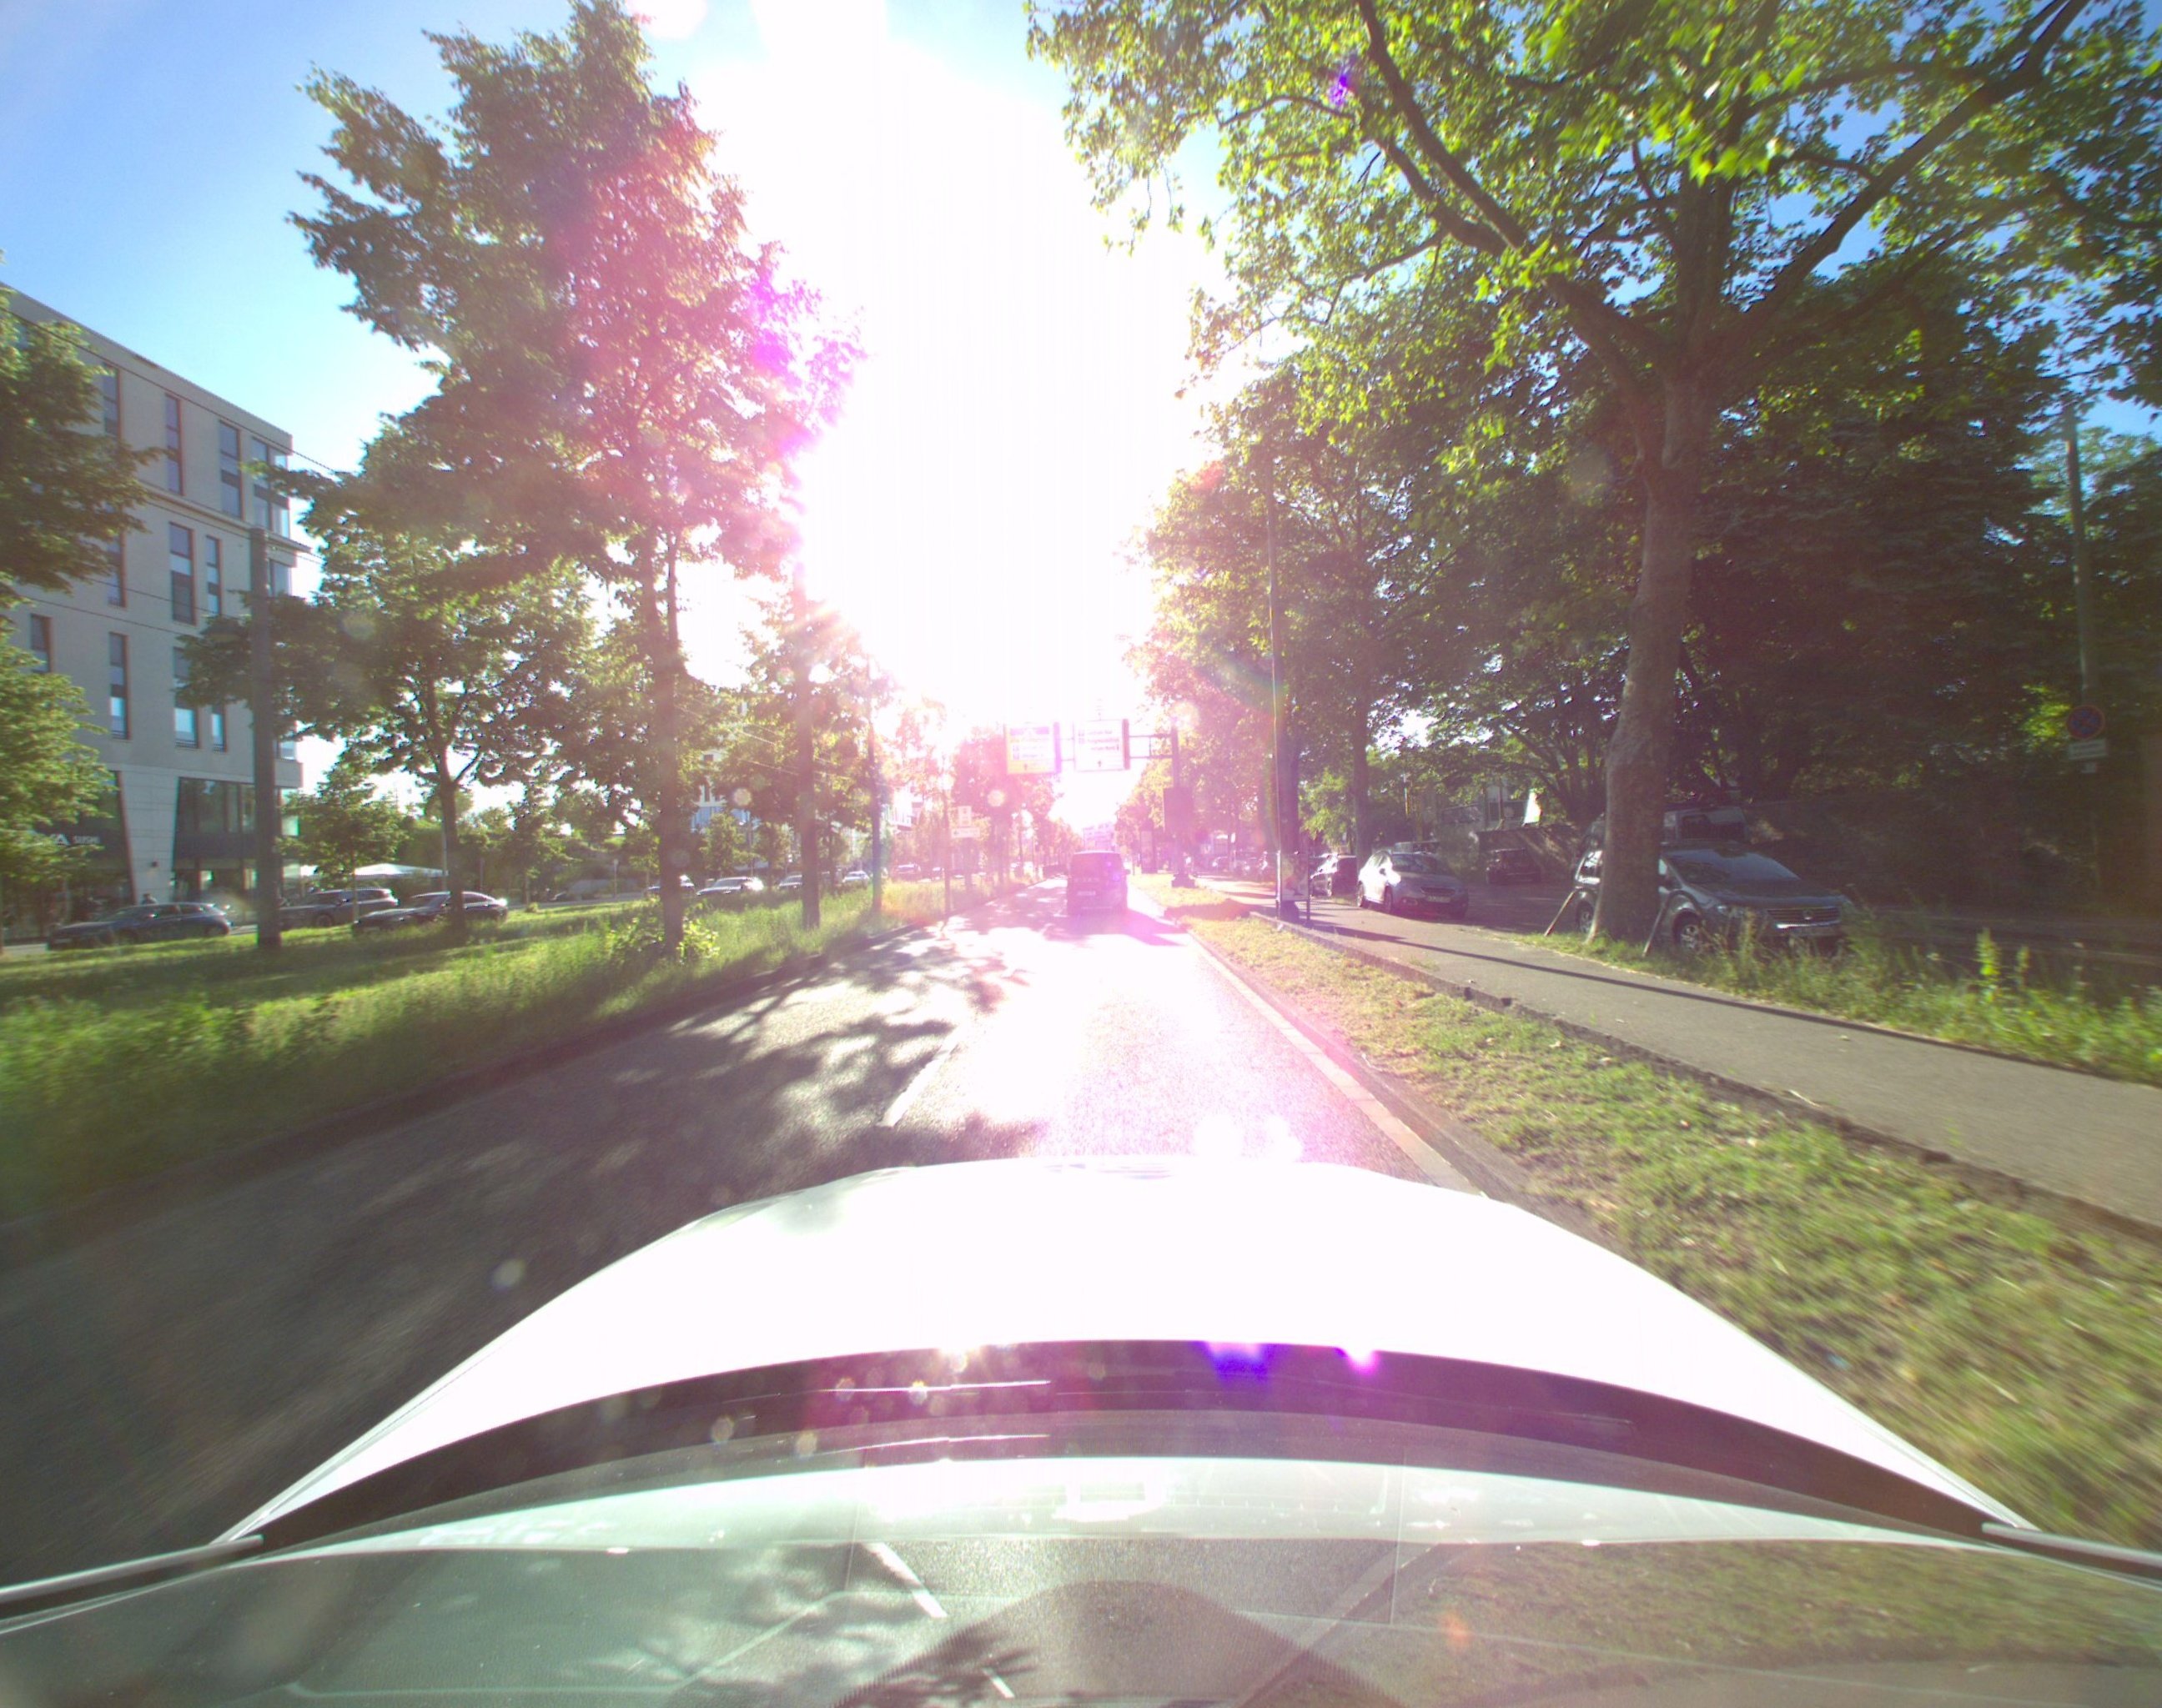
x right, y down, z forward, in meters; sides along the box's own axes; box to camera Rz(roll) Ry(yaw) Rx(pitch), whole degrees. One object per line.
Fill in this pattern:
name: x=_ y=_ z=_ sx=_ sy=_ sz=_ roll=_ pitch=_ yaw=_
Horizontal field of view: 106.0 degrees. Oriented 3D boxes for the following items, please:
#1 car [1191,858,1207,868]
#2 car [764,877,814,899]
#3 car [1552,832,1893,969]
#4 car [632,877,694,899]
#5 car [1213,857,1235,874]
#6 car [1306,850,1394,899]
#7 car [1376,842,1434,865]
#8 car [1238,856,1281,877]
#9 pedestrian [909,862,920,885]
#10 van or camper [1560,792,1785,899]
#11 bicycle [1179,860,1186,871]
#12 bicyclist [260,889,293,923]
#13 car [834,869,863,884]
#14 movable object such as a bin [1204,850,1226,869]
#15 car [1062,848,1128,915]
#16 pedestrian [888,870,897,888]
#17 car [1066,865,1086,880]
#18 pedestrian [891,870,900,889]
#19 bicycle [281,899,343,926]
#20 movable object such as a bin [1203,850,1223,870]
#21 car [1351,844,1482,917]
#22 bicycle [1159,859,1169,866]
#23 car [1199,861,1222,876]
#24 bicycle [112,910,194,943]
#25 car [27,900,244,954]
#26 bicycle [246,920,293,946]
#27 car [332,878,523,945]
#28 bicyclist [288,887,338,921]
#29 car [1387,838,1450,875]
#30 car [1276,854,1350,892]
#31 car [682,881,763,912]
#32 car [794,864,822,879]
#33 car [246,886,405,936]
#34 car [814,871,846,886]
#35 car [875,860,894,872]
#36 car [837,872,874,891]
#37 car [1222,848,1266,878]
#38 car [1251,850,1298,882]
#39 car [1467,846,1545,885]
car: x=16.993 y=1.319 z=117.319 sx=1.864 sy=1.368 sz=4.001 roll=-1 pitch=-1 yaw=1
car: x=-21.472 y=2.494 z=60.087 sx=1.986 sy=1.528 sz=4.320 roll=-1 pitch=-1 yaw=1
car: x=9.023 y=0.600 z=12.095 sx=1.784 sy=1.634 sz=4.634 roll=-1 pitch=-1 yaw=6
car: x=-29.834 y=2.412 z=58.336 sx=1.871 sy=1.435 sz=4.613 roll=-1 pitch=-1 yaw=3
car: x=13.173 y=1.081 z=75.027 sx=1.654 sy=1.500 sz=2.992 roll=-1 pitch=-1 yaw=4
car: x=8.646 y=0.652 z=26.494 sx=1.785 sy=1.438 sz=3.887 roll=-1 pitch=-1 yaw=3
car: x=26.871 y=-0.061 z=67.586 sx=4.067 sy=1.851 sz=1.850 roll=-1 pitch=-1 yaw=2
car: x=11.146 y=0.790 z=51.017 sx=1.985 sy=1.290 sz=4.055 roll=-1 pitch=-1 yaw=3
pedestrian: x=-13.757 y=1.613 z=67.308 sx=0.818 sy=1.836 sz=0.726 roll=-1 pitch=-1 yaw=-1
van or camper: x=17.772 y=-0.220 z=25.119 sx=2.543 sy=2.684 sz=6.576 roll=-4 pitch=-1 yaw=6
bicycle: x=9.816 y=1.135 z=78.808 sx=0.491 sy=1.046 sz=1.905 roll=-1 pitch=-1 yaw=3
bicyclist: x=-34.762 y=2.218 z=35.192 sx=0.428 sy=1.419 sz=0.956 roll=-1 pitch=-1 yaw=3
car: x=-28.412 y=2.732 z=99.762 sx=1.985 sy=1.672 sz=4.613 roll=-1 pitch=-1 yaw=3
movable object such as a bin: x=14.016 y=0.604 z=85.323 sx=2.071 sy=2.014 sz=2.139 roll=-1 pitch=-1 yaw=5
car: x=0.353 y=0.787 z=24.592 sx=1.803 sy=1.838 sz=3.997 roll=-1 pitch=-1 yaw=-1
pedestrian: x=-15.444 y=2.056 z=66.620 sx=0.540 sy=1.497 sz=0.604 roll=-1 pitch=-1 yaw=5
car: x=-0.523 y=2.031 z=91.216 sx=1.986 sy=1.618 sz=4.001 roll=-1 pitch=-1 yaw=2
pedestrian: x=-14.991 y=2.039 z=65.842 sx=0.547 sy=1.518 sz=0.589 roll=-1 pitch=-1 yaw=6
bicycle: x=-32.800 y=2.484 z=34.776 sx=0.495 sy=1.001 sz=2.189 roll=-1 pitch=-1 yaw=1
movable object such as a bin: x=14.270 y=0.660 z=88.081 sx=2.071 sy=2.014 sz=2.139 roll=-1 pitch=-1 yaw=5
car: x=7.967 y=0.614 z=19.738 sx=1.785 sy=1.560 sz=4.025 roll=1 pitch=-1 yaw=5
bicycle: x=15.687 y=1.582 z=153.685 sx=1.910 sy=1.268 sz=0.479 roll=-2 pitch=-1 yaw=2
car: x=12.514 y=1.399 z=78.849 sx=1.988 sy=1.384 sz=4.754 roll=-1 pitch=-1 yaw=7
bicycle: x=-37.508 y=2.913 z=32.975 sx=0.731 sy=1.198 sz=2.241 roll=-1 pitch=-1 yaw=1
car: x=-30.372 y=2.290 z=26.404 sx=1.950 sy=1.441 sz=4.267 roll=-1 pitch=-1 yaw=2
bicycle: x=-34.769 y=3.371 z=34.921 sx=0.428 sy=1.017 sz=1.485 roll=0 pitch=-1 yaw=3
car: x=-21.533 y=1.809 z=27.214 sx=1.986 sy=1.841 sz=5.252 roll=-2 pitch=0 yaw=2
bicyclist: x=-32.799 y=2.120 z=34.806 sx=0.487 sy=1.406 sz=1.661 roll=-1 pitch=-1 yaw=1
car: x=19.844 y=0.186 z=48.088 sx=2.076 sy=2.014 sz=4.951 roll=-2 pitch=-1 yaw=6
car: x=9.130 y=0.735 z=32.429 sx=1.984 sy=1.381 sz=4.683 roll=0 pitch=-1 yaw=5
car: x=-18.549 y=2.155 z=42.411 sx=1.985 sy=1.441 sz=4.460 roll=-1 pitch=-1 yaw=4
car: x=-36.176 y=2.291 z=107.926 sx=1.985 sy=2.014 sz=4.566 roll=0 pitch=-1 yaw=3
car: x=-30.447 y=2.227 z=33.061 sx=1.987 sy=1.772 sz=4.774 roll=-1 pitch=-1 yaw=-1
car: x=-28.824 y=2.828 z=93.724 sx=1.985 sy=1.608 sz=4.613 roll=-1 pitch=-1 yaw=3
car: x=-34.007 y=2.017 z=141.180 sx=1.985 sy=2.014 sz=4.566 roll=-1 pitch=-1 yaw=3
car: x=-20.797 y=2.496 z=75.319 sx=1.984 sy=1.571 sz=4.171 roll=-2 pitch=-1 yaw=4
car: x=11.424 y=0.667 z=57.488 sx=2.181 sy=2.014 sz=5.824 roll=-1 pitch=-1 yaw=3
car: x=10.377 y=0.640 z=43.918 sx=1.729 sy=1.642 sz=4.355 roll=-1 pitch=-1 yaw=3
car: x=18.296 y=0.506 z=35.243 sx=1.681 sy=1.472 sz=3.765 roll=-4 pitch=-1 yaw=7
